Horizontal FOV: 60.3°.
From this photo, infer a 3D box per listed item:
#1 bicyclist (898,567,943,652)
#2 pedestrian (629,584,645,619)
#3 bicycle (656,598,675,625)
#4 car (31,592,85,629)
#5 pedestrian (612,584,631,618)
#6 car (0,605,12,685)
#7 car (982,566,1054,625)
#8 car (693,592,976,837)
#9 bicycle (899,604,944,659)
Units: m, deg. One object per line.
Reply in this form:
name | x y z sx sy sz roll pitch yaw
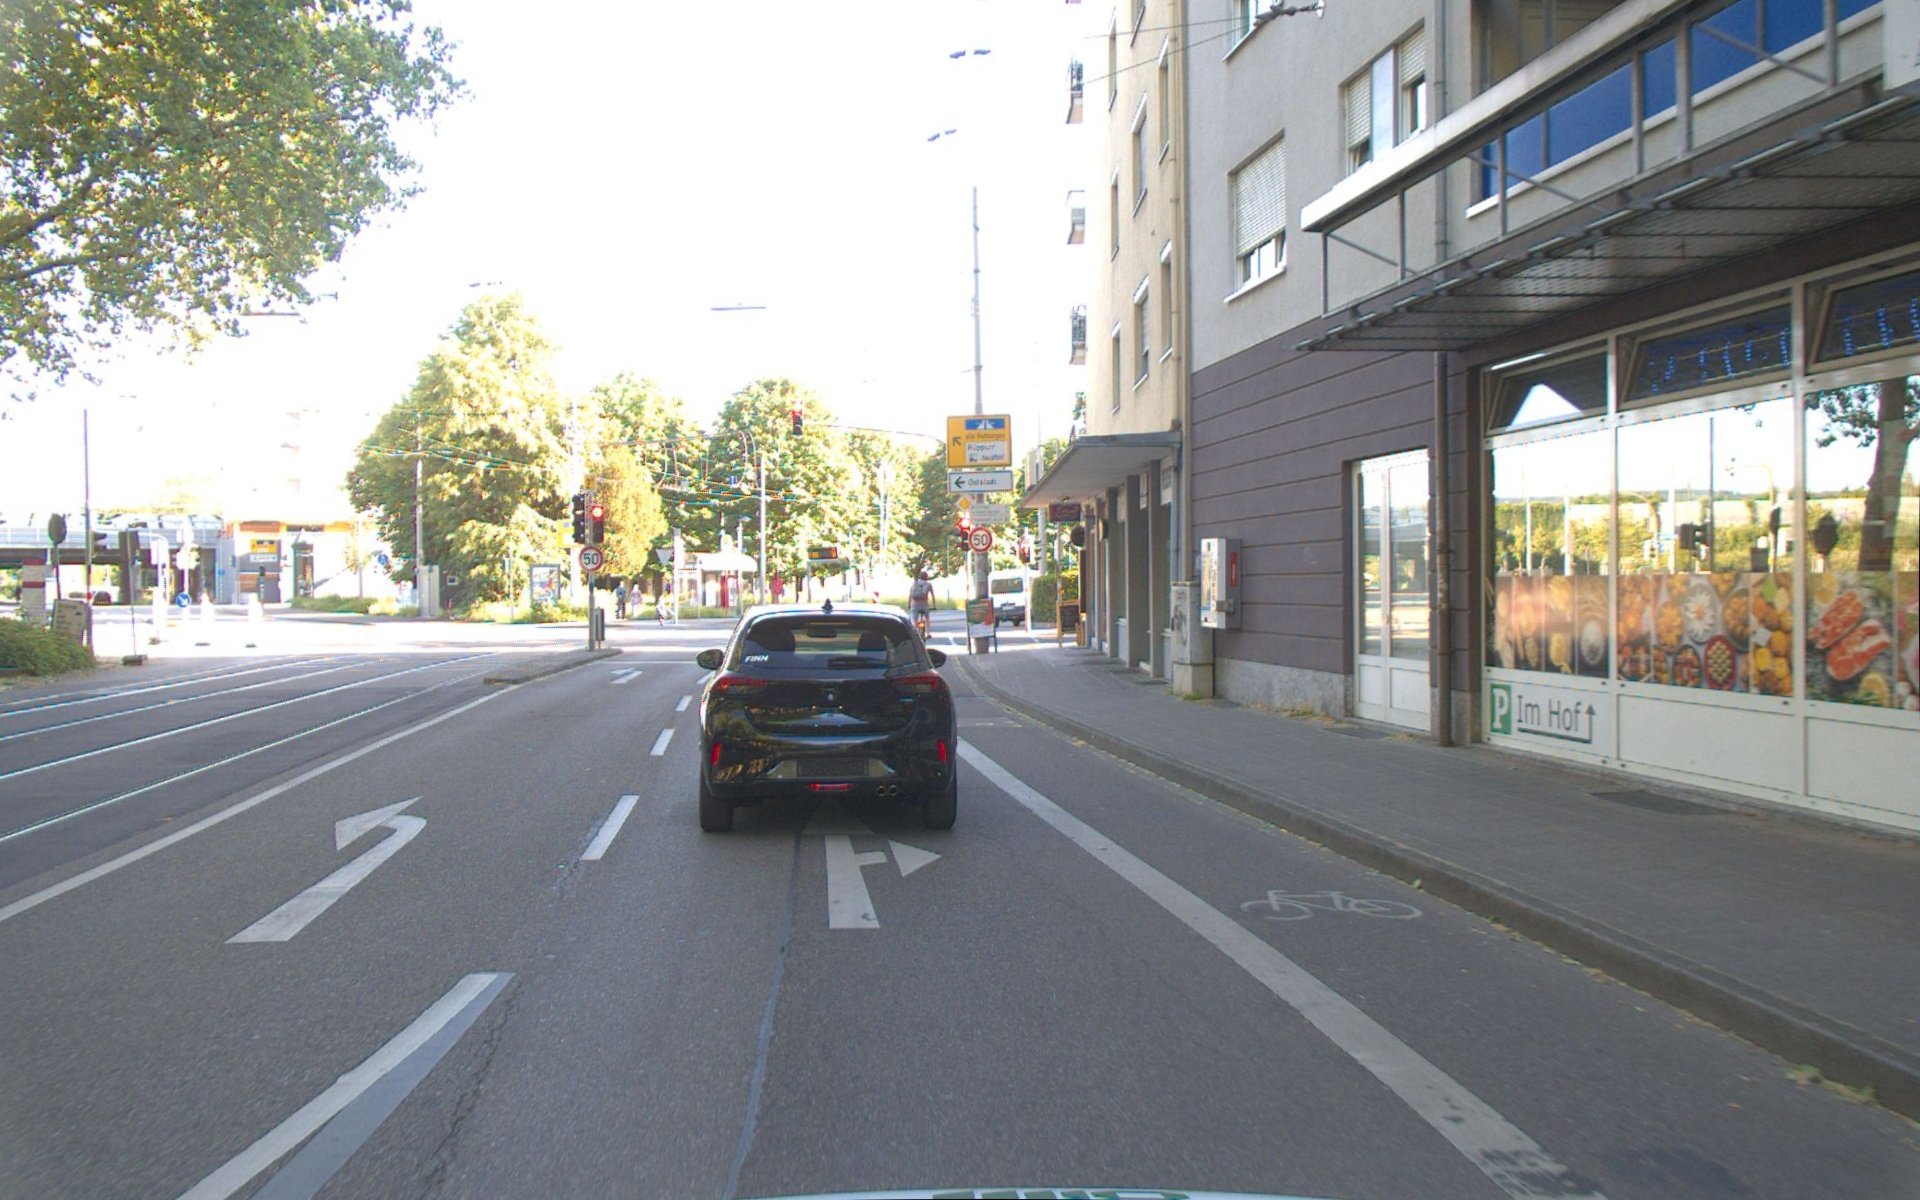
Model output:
bicyclist | -0.909 0.210 37.729 0.923 1.883 0.863 -1 0 -6
pedestrian | -15.716 0.073 80.385 0.623 1.658 0.572 1 -1 1
bicycle | -11.768 0.454 66.124 0.594 1.049 1.980 -1 0 -5
car | -39.304 0.450 72.140 1.802 1.545 3.863 1 0 -25
pedestrian | -16.450 0.060 80.409 0.735 1.658 0.598 1 -1 1
car | -19.684 0.801 29.553 4.426 1.454 1.674 1 0 -7
car | 2.404 -0.211 67.518 2.019 2.288 4.891 -1 1 13
car | -0.936 0.674 12.019 1.693 1.454 4.182 0 0 -5
bicycle | -0.900 0.710 37.748 0.843 1.173 2.169 -1 1 -6
